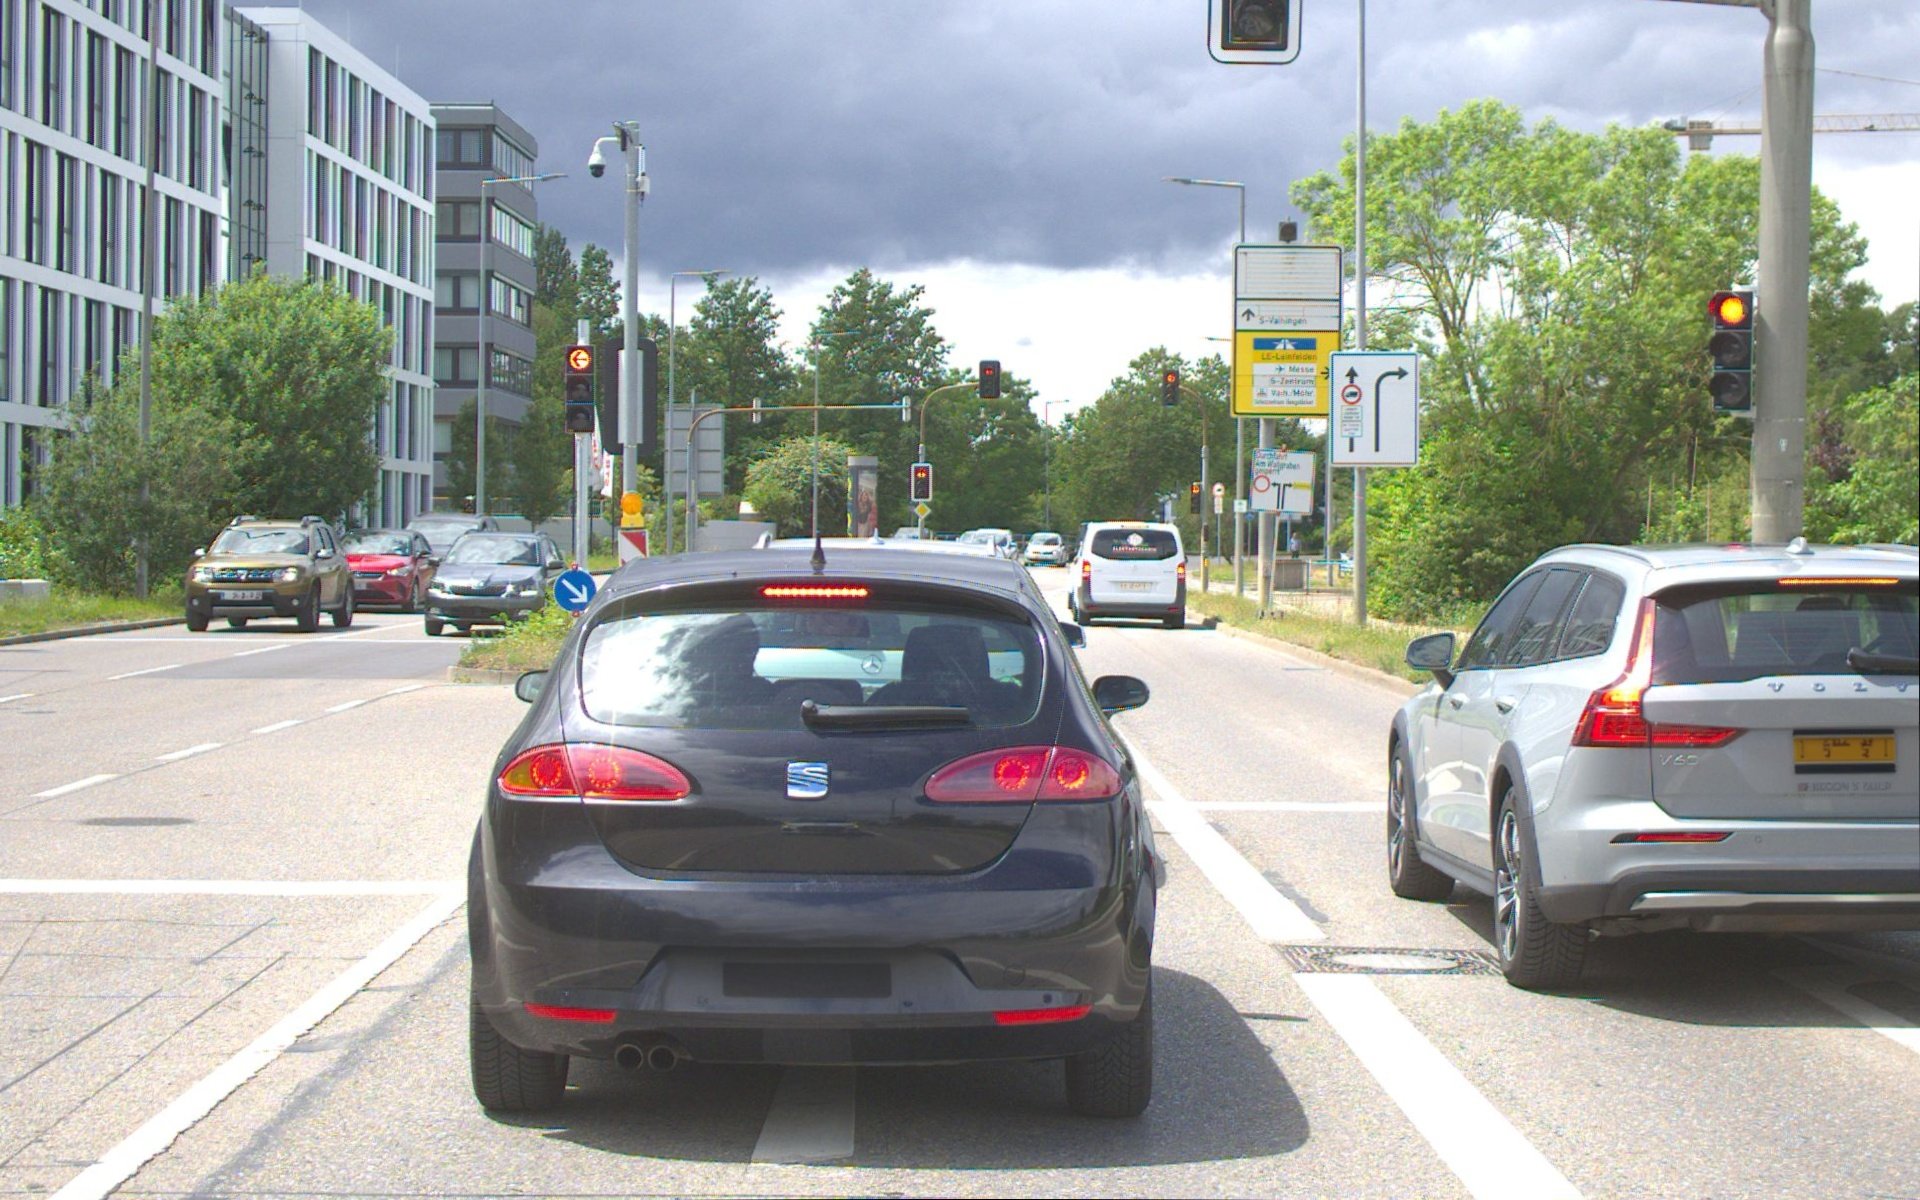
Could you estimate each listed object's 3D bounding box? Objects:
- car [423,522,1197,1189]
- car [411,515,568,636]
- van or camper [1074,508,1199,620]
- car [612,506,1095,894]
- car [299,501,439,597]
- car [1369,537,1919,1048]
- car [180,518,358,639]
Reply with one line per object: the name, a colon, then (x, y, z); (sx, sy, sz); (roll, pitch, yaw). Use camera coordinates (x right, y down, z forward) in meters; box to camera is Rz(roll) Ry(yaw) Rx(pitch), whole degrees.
car: (-0.255, 0.563, 9.911); (1.748, 1.478, 4.000); (2, 1, 3)
car: (-6.612, -0.383, 48.637); (1.668, 1.519, 4.008); (-2, 2, -1)
van or camper: (3.099, -0.635, 61.078); (1.899, 1.919, 4.000); (0, 1, -1)
car: (-0.492, 0.382, 16.409); (1.983, 1.585, 4.226); (1, 1, -1)
car: (-10.233, -0.873, 59.762); (1.776, 1.606, 4.000); (0, 1, -1)
car: (2.739, 0.553, 12.527); (1.958, 1.520, 4.340); (-1, 1, 0)
car: (-9.885, -0.332, 49.430); (1.751, 1.625, 4.000); (-1, 1, -1)
